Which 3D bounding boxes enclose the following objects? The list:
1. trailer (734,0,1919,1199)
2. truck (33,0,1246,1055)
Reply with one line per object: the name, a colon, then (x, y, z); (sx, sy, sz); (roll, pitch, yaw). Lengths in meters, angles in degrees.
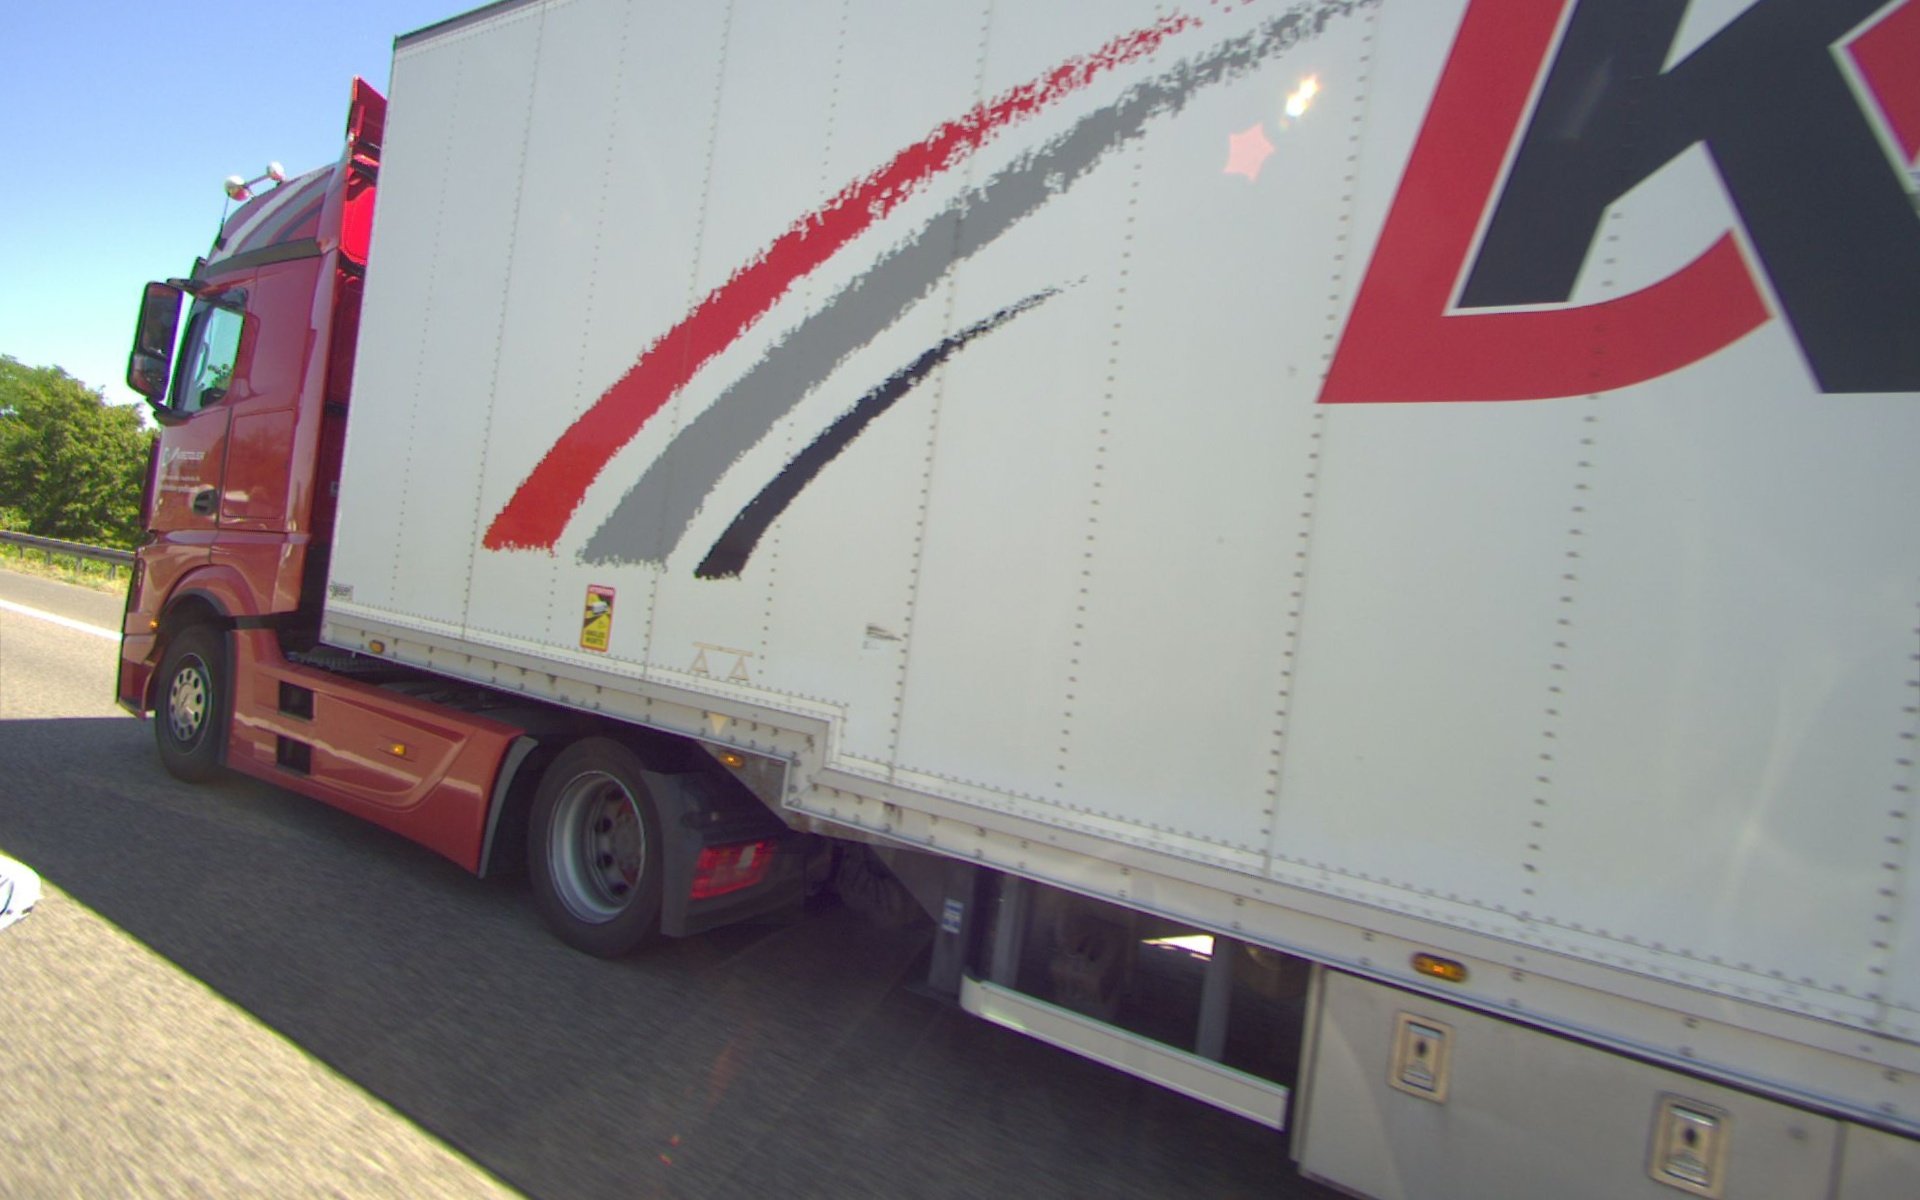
trailer: (6.188, -0.171, 1.003); (13.797, 4.896, 3.274); (7, 0, 32)
truck: (-2.330, -1.217, 6.417); (6.857, 4.948, 3.238); (7, 0, 32)
